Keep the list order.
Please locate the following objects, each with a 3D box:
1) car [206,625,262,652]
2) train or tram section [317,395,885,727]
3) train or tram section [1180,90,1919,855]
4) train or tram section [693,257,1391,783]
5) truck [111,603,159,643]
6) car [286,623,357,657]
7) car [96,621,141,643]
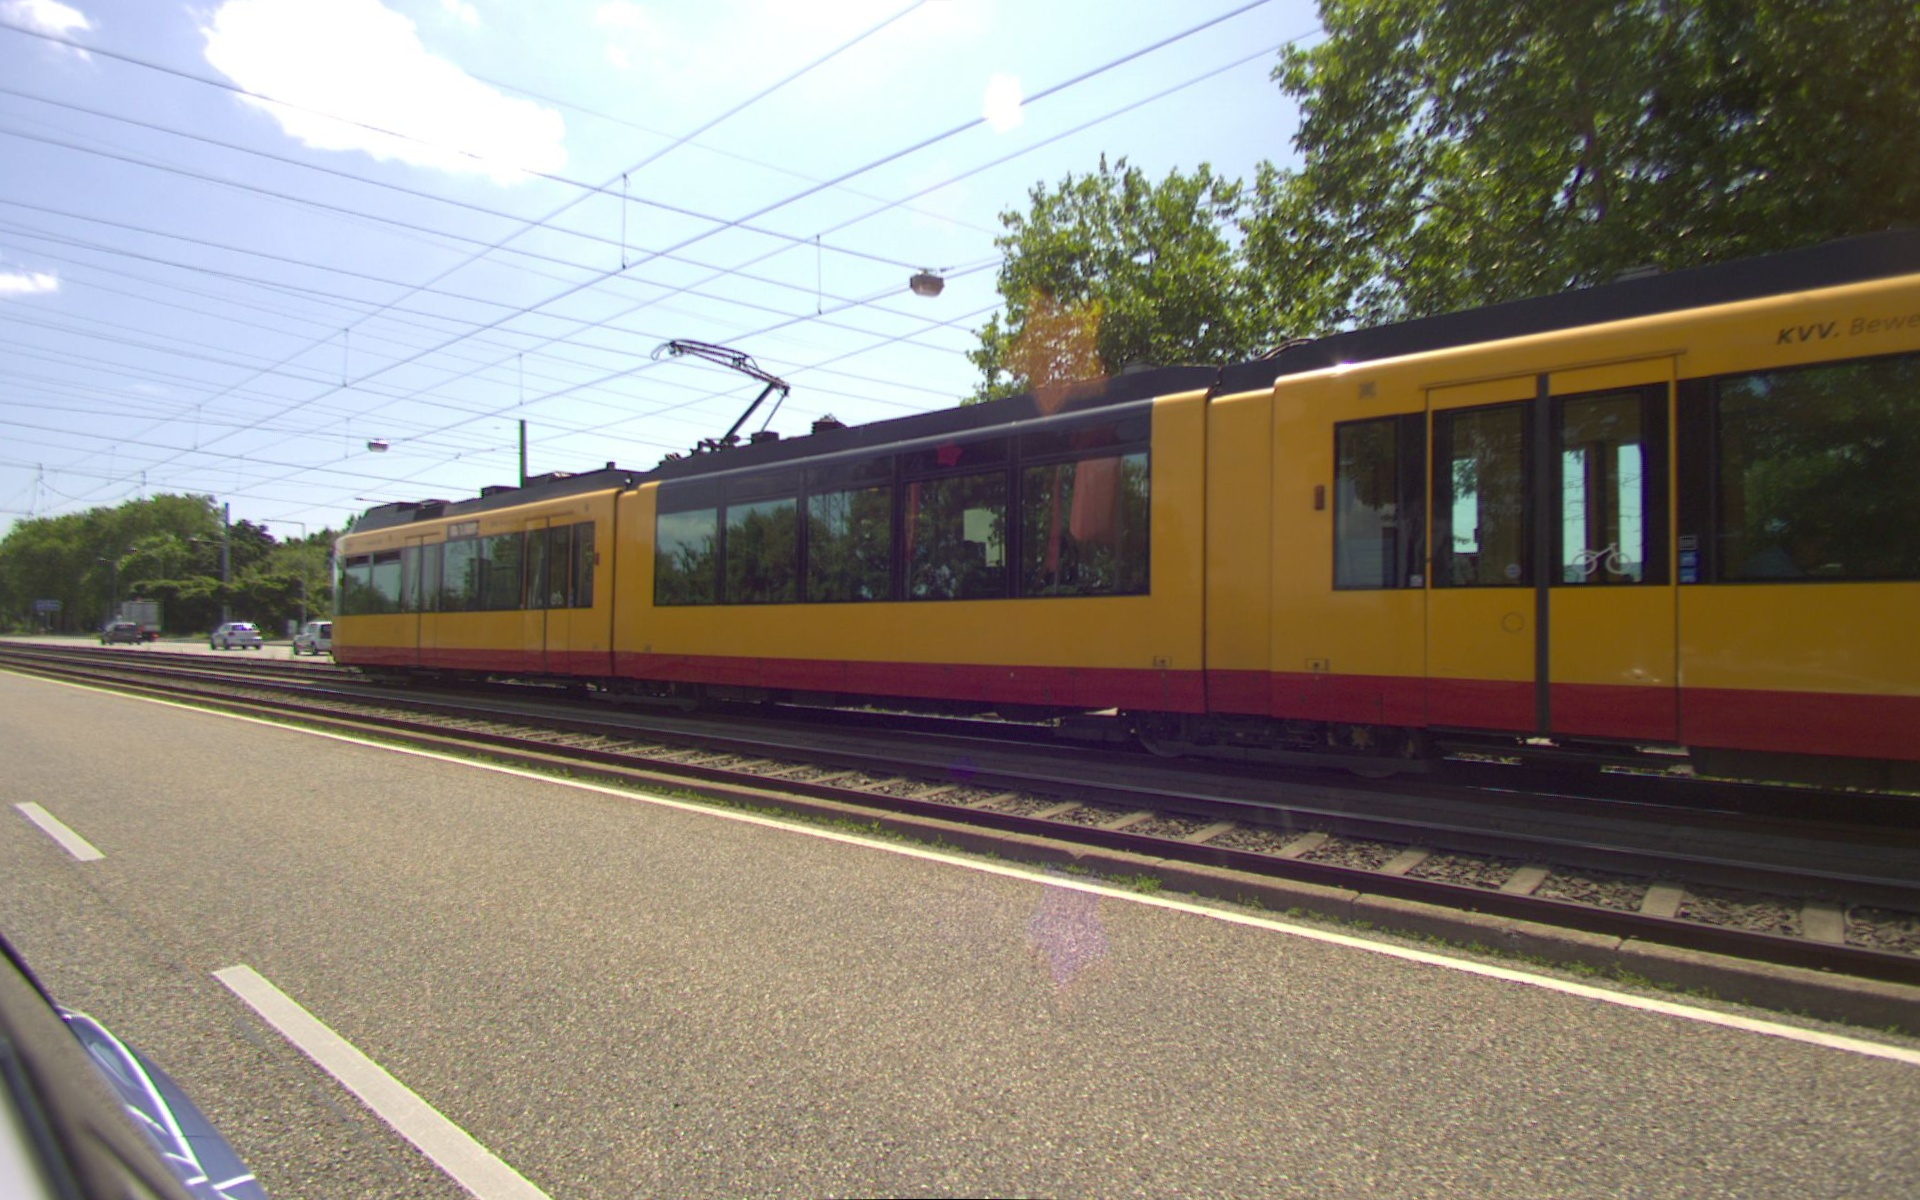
[{"bbox_3d":[-39.790,2.096,55.440,4.125,1.432,1.619,-2,-2,41],"label":"car"},{"bbox_3d":[-7.954,-0.347,19.304,15.413,4.299,3.017,-2,-1,41],"label":"train or tram section"},{"bbox_3d":[8.163,-0.764,5.251,14.030,4.299,3.016,-2,-1,42],"label":"train or tram section"},{"bbox_3d":[0.461,-0.579,12.017,7.997,4.299,3.017,-2,-1,41],"label":"train or tram section"},{"bbox_3d":[-68.545,1.929,84.022,6.040,3.261,2.226,-2,-2,42],"label":"truck"},{"bbox_3d":[-28.505,1.781,45.170,3.718,1.447,1.620,-1,-2,40],"label":"car"},{"bbox_3d":[-59.328,2.263,71.373,3.953,1.547,1.735,-2,-2,40],"label":"car"}]
